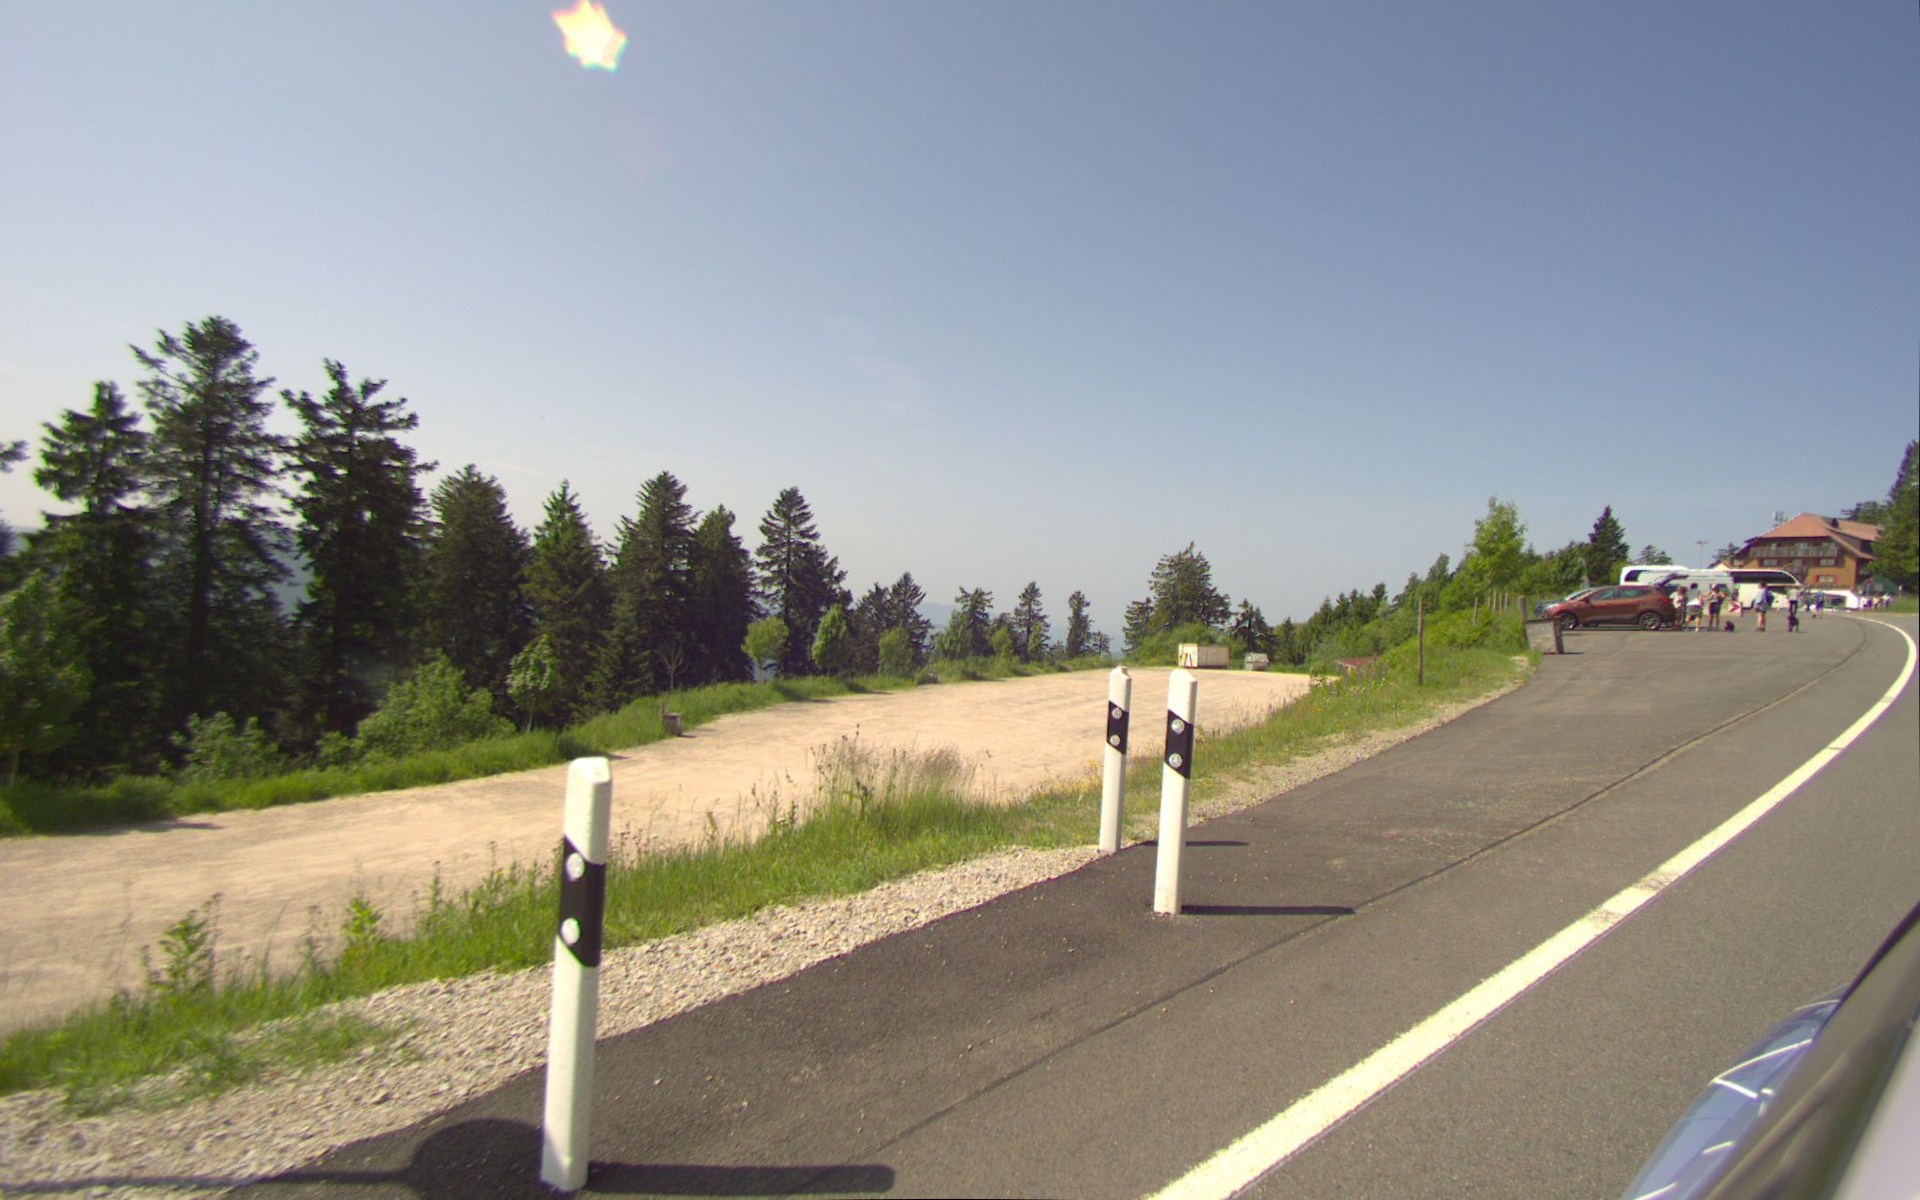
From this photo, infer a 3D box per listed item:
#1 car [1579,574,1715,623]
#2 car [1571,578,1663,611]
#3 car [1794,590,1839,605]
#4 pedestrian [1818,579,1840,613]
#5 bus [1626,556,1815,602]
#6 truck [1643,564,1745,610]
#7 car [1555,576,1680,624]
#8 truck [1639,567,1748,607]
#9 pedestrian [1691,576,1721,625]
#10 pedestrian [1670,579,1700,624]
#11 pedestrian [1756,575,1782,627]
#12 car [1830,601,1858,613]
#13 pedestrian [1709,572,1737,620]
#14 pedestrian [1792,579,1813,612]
[{"bbox_3d":[27.303,-0.095,40.285,4.261,1.816,1.864,1,3,42],"label":"car"},{"bbox_3d":[34.340,-0.279,52.926,3.974,1.668,1.580,-1,0,36],"label":"car"},{"bbox_3d":[109.217,-0.338,129.151,1.753,1.607,3.972,2,1,-25],"label":"car"},{"bbox_3d":[46.823,-0.220,54.531,0.761,1.782,0.756,1,1,-38],"label":"pedestrian"},{"bbox_3d":[65.301,-1.904,87.335,12.830,3.622,2.798,3,2,40],"label":"bus"},{"bbox_3d":[55.153,-1.052,76.213,6.049,3.235,2.499,3,2,37],"label":"truck"},{"bbox_3d":[24.373,0.003,37.600,3.803,1.682,1.632,0,0,35],"label":"car"},{"bbox_3d":[53.236,-0.970,73.564,6.251,2.623,2.307,3,1,39],"label":"truck"},{"bbox_3d":[26.527,0.024,35.985,0.675,1.681,0.654,2,1,-38],"label":"pedestrian"},{"bbox_3d":[26.808,0.049,37.437,0.721,1.607,0.619,2,1,-32],"label":"pedestrian"},{"bbox_3d":[28.485,0.015,35.621,0.712,1.797,0.617,0,1,-44],"label":"pedestrian"},{"bbox_3d":[122.990,1.018,140.787,3.069,1.572,1.719,1,1,-22],"label":"car"},{"bbox_3d":[27.672,-0.169,36.699,0.609,1.713,0.716,0,1,-44],"label":"pedestrian"},{"bbox_3d":[45.969,-0.233,55.207,0.878,1.762,0.667,1,1,-38],"label":"pedestrian"}]
